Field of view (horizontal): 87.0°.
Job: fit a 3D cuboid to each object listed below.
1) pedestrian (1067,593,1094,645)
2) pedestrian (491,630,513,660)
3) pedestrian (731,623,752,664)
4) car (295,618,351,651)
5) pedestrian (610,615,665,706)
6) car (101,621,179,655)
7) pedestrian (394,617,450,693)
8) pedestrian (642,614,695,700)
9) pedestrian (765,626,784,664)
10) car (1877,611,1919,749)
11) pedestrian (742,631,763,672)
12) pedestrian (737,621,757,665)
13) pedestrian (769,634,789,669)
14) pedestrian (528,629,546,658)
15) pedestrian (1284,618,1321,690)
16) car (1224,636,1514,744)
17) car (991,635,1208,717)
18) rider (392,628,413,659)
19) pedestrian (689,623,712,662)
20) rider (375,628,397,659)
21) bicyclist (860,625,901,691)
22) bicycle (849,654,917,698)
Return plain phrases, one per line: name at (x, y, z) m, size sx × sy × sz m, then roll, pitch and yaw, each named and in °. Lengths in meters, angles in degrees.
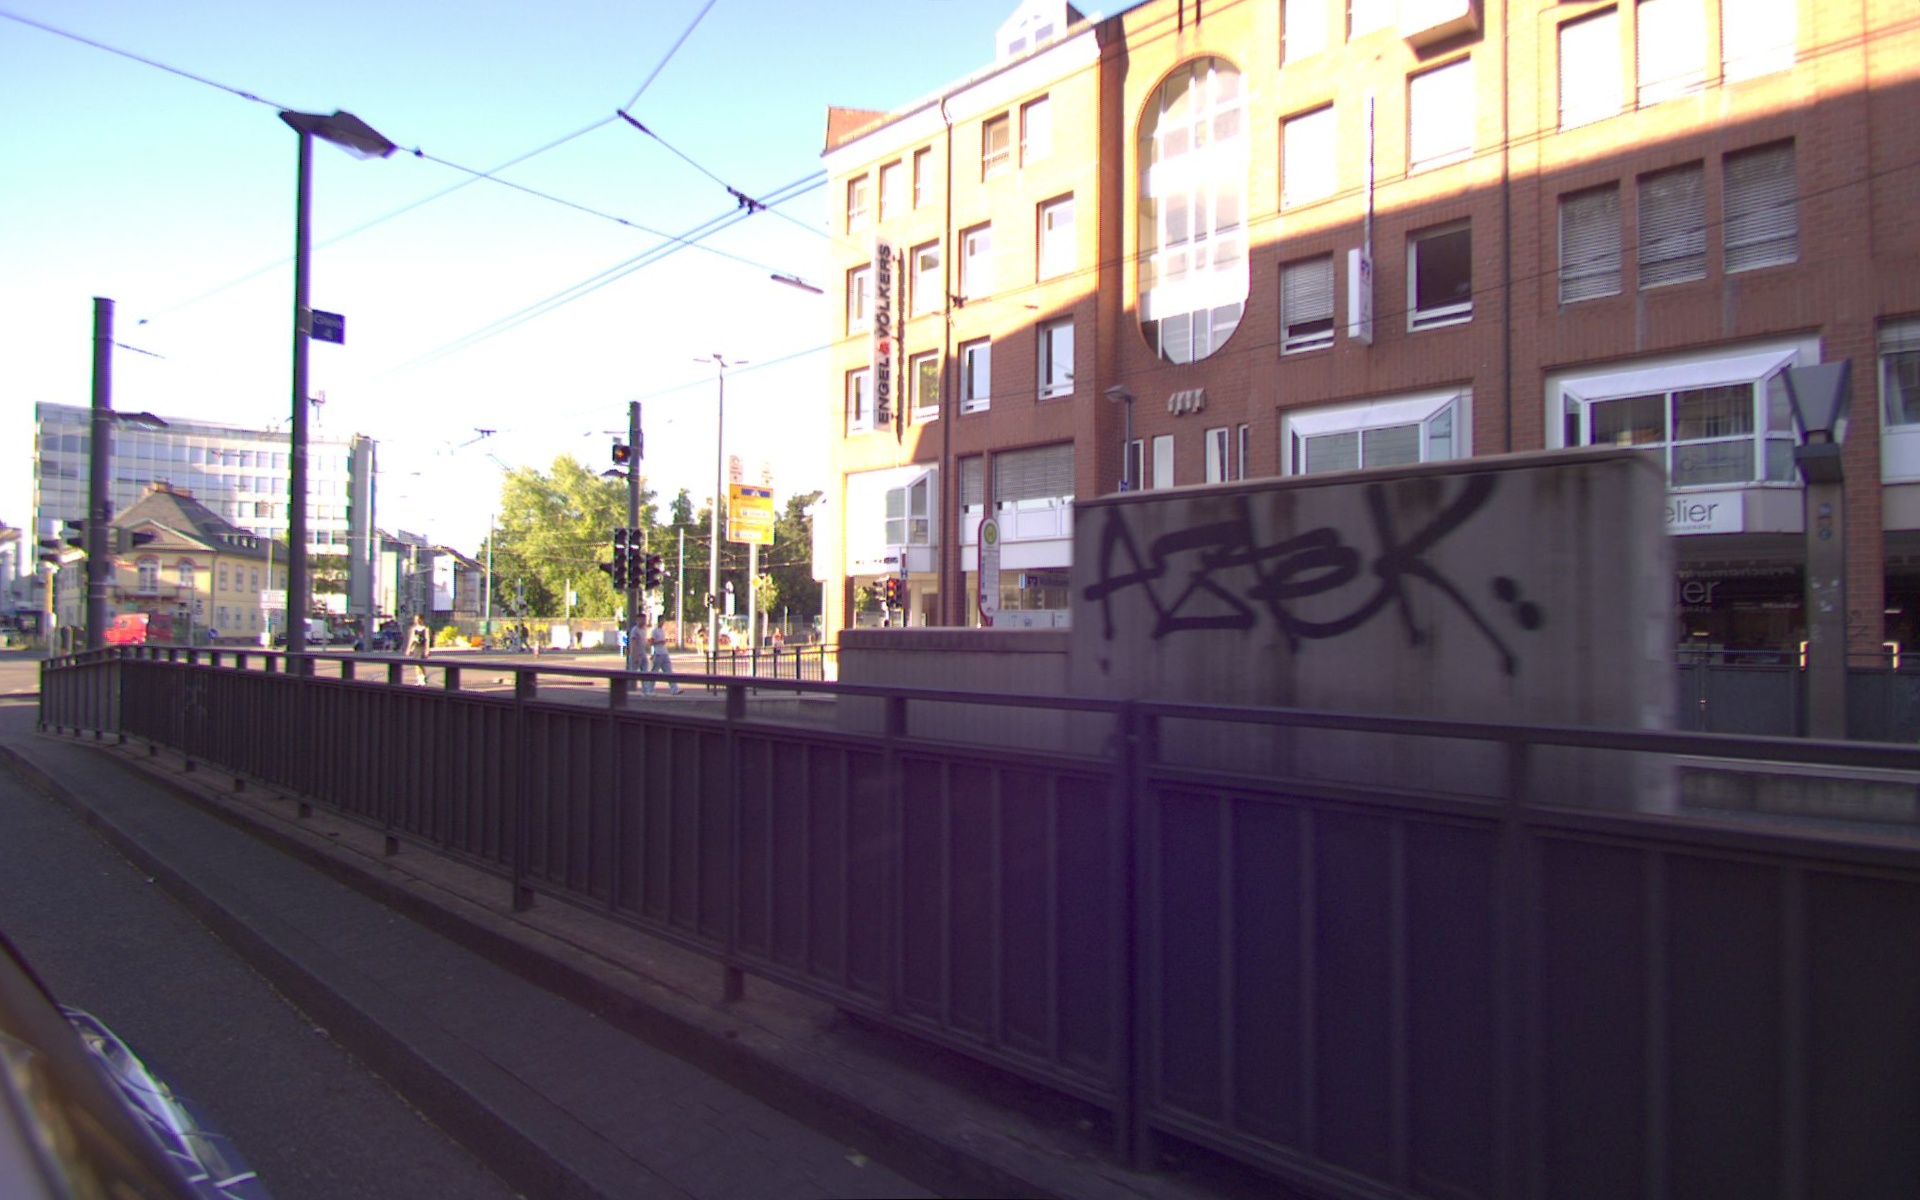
pedestrian at (3.974, 0.631, 33.365) m, size 0.637 × 1.674 × 0.605 m, roll -1°, pitch -2°, yaw 41°
pedestrian at (-32.295, 3.152, 71.380) m, size 1.058 × 2.029 × 0.990 m, roll -2°, pitch 0°, yaw -44°
pedestrian at (-11.271, 2.231, 52.112) m, size 0.849 × 2.029 × 0.811 m, roll -1°, pitch 0°, yaw 1°
car at (-63.189, 3.413, 100.577) m, size 2.501 × 3.071 × 6.389 m, roll 2°, pitch -2°, yaw -12°
pedestrian at (-6.582, 1.218, 20.675) m, size 0.800 × 1.780 × 0.860 m, roll -1°, pitch 0°, yaw 1°
car at (-61.971, 2.857, 76.513) m, size 5.391 × 2.474 × 2.522 m, roll -2°, pitch -1°, yaw 25°
pedestrian at (-13.234, 1.350, 24.908) m, size 0.852 × 1.817 × 0.808 m, roll -1°, pitch 0°, yaw 13°
pedestrian at (-6.249, 1.216, 21.736) m, size 0.801 × 1.780 × 0.859 m, roll -1°, pitch 0°, yaw 5°
pedestrian at (-10.100, 2.449, 55.154) m, size 0.849 × 2.029 × 0.811 m, roll -1°, pitch 0°, yaw 1°
car at (13.168, 0.993, 11.318) m, size 4.290 × 1.606 × 1.889 m, roll 1°, pitch -2°, yaw 42°
pedestrian at (-9.353, 2.311, 45.623) m, size 0.847 × 1.780 × 0.813 m, roll -2°, pitch 0°, yaw -11°
pedestrian at (-10.161, 2.062, 48.280) m, size 0.847 × 2.029 × 0.813 m, roll -1°, pitch 0°, yaw -11°
pedestrian at (-8.265, 2.368, 46.300) m, size 0.847 × 1.522 × 0.813 m, roll -2°, pitch 0°, yaw -11°
pedestrian at (-30.516, 3.141, 73.027) m, size 0.997 × 2.029 × 0.992 m, roll -2°, pitch 0°, yaw -15°
pedestrian at (8.072, 1.257, 23.859) m, size 0.637 × 1.674 × 0.605 m, roll -1°, pitch -2°, yaw 41°
car at (6.861, 1.425, 17.213) m, size 4.194 × 1.612 × 1.873 m, roll -2°, pitch -3°, yaw 41°
car at (2.824, 1.514, 20.954) m, size 4.117 × 1.541 × 1.882 m, roll -2°, pitch -4°, yaw 41°
rider at (-37.703, 2.923, 68.498) m, size 0.997 × 2.029 × 0.992 m, roll -2°, pitch 0°, yaw -15°
pedestrian at (-14.024, 2.304, 54.779) m, size 0.857 × 2.029 × 0.804 m, roll -1°, pitch 0°, yaw 28°
rider at (-38.893, 2.959, 68.585) m, size 0.997 × 2.029 × 1.023 m, roll -2°, pitch 0°, yaw -15°
bicyclist at (-2.227, 1.612, 28.322) m, size 0.810 × 1.780 × 0.729 m, roll -1°, pitch 0°, yaw 39°
bicycle at (-2.162, 2.104, 28.294) m, size 2.053 × 1.129 × 0.567 m, roll -1°, pitch 0°, yaw 39°
